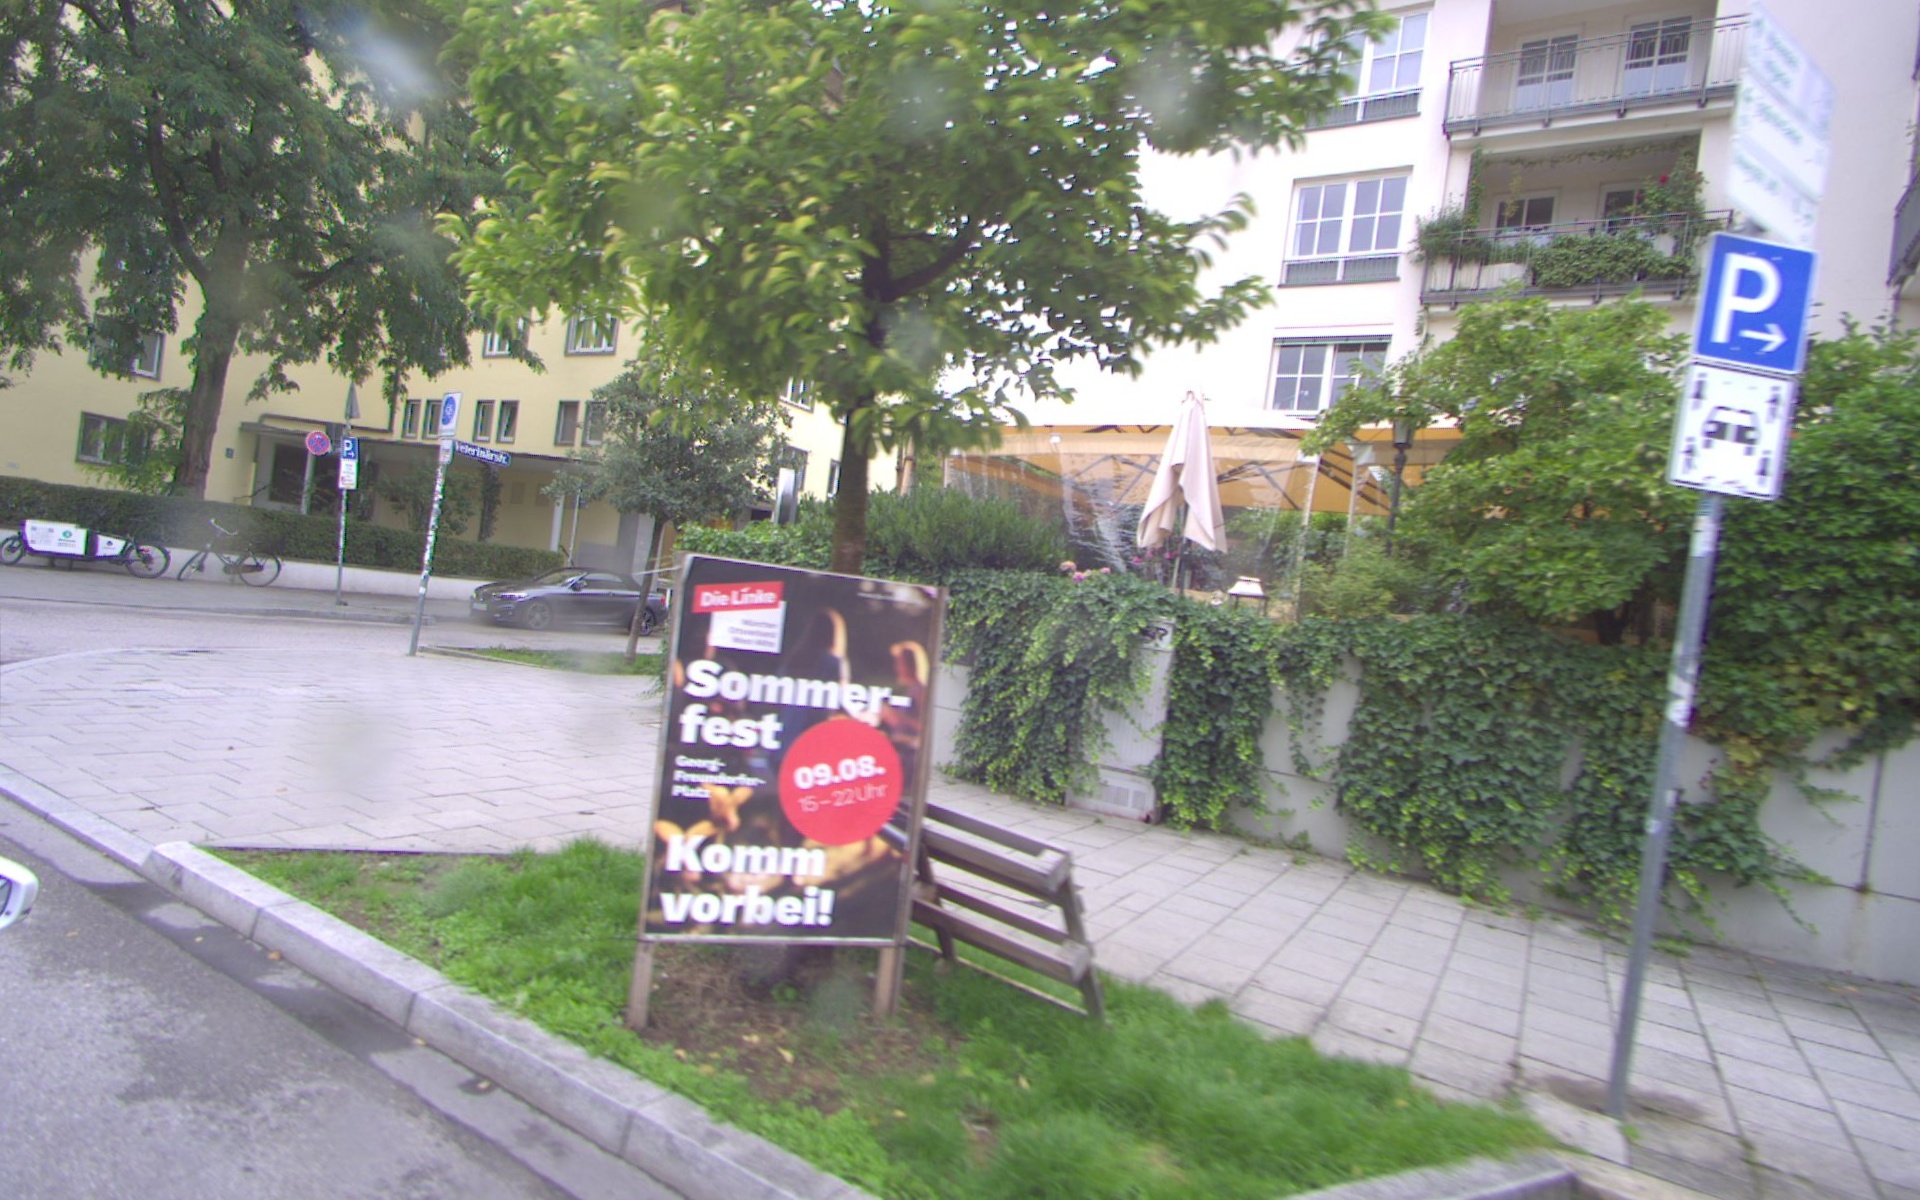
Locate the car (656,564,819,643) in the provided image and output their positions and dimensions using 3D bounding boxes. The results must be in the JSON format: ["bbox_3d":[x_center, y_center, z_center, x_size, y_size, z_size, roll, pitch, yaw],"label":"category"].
[{"bbox_3d":[-5.740,0.138,26.421,1.713,1.718,4.103,6,0,31],"label":"car"}]

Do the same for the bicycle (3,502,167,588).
[{"bbox_3d":[-15.477,-0.958,17.871,2.056,1.216,0.589,8,0,-36],"label":"bicycle"}]

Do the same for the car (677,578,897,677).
[{"bbox_3d":[-3.125,0.586,18.983,1.860,1.419,3.995,8,-1,30],"label":"car"}]

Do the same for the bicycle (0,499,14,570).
[{"bbox_3d":[-17.562,-1.261,17.197,1.897,1.216,0.594,8,0,-13],"label":"bicycle"}]

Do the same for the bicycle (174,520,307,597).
[{"bbox_3d":[-13.977,-0.781,19.606,0.586,1.216,1.923,8,0,36],"label":"bicycle"}]

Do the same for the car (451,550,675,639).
[{"bbox_3d":[-8.516,-0.057,21.936,1.671,1.463,4.248,6,-1,34],"label":"car"}]
